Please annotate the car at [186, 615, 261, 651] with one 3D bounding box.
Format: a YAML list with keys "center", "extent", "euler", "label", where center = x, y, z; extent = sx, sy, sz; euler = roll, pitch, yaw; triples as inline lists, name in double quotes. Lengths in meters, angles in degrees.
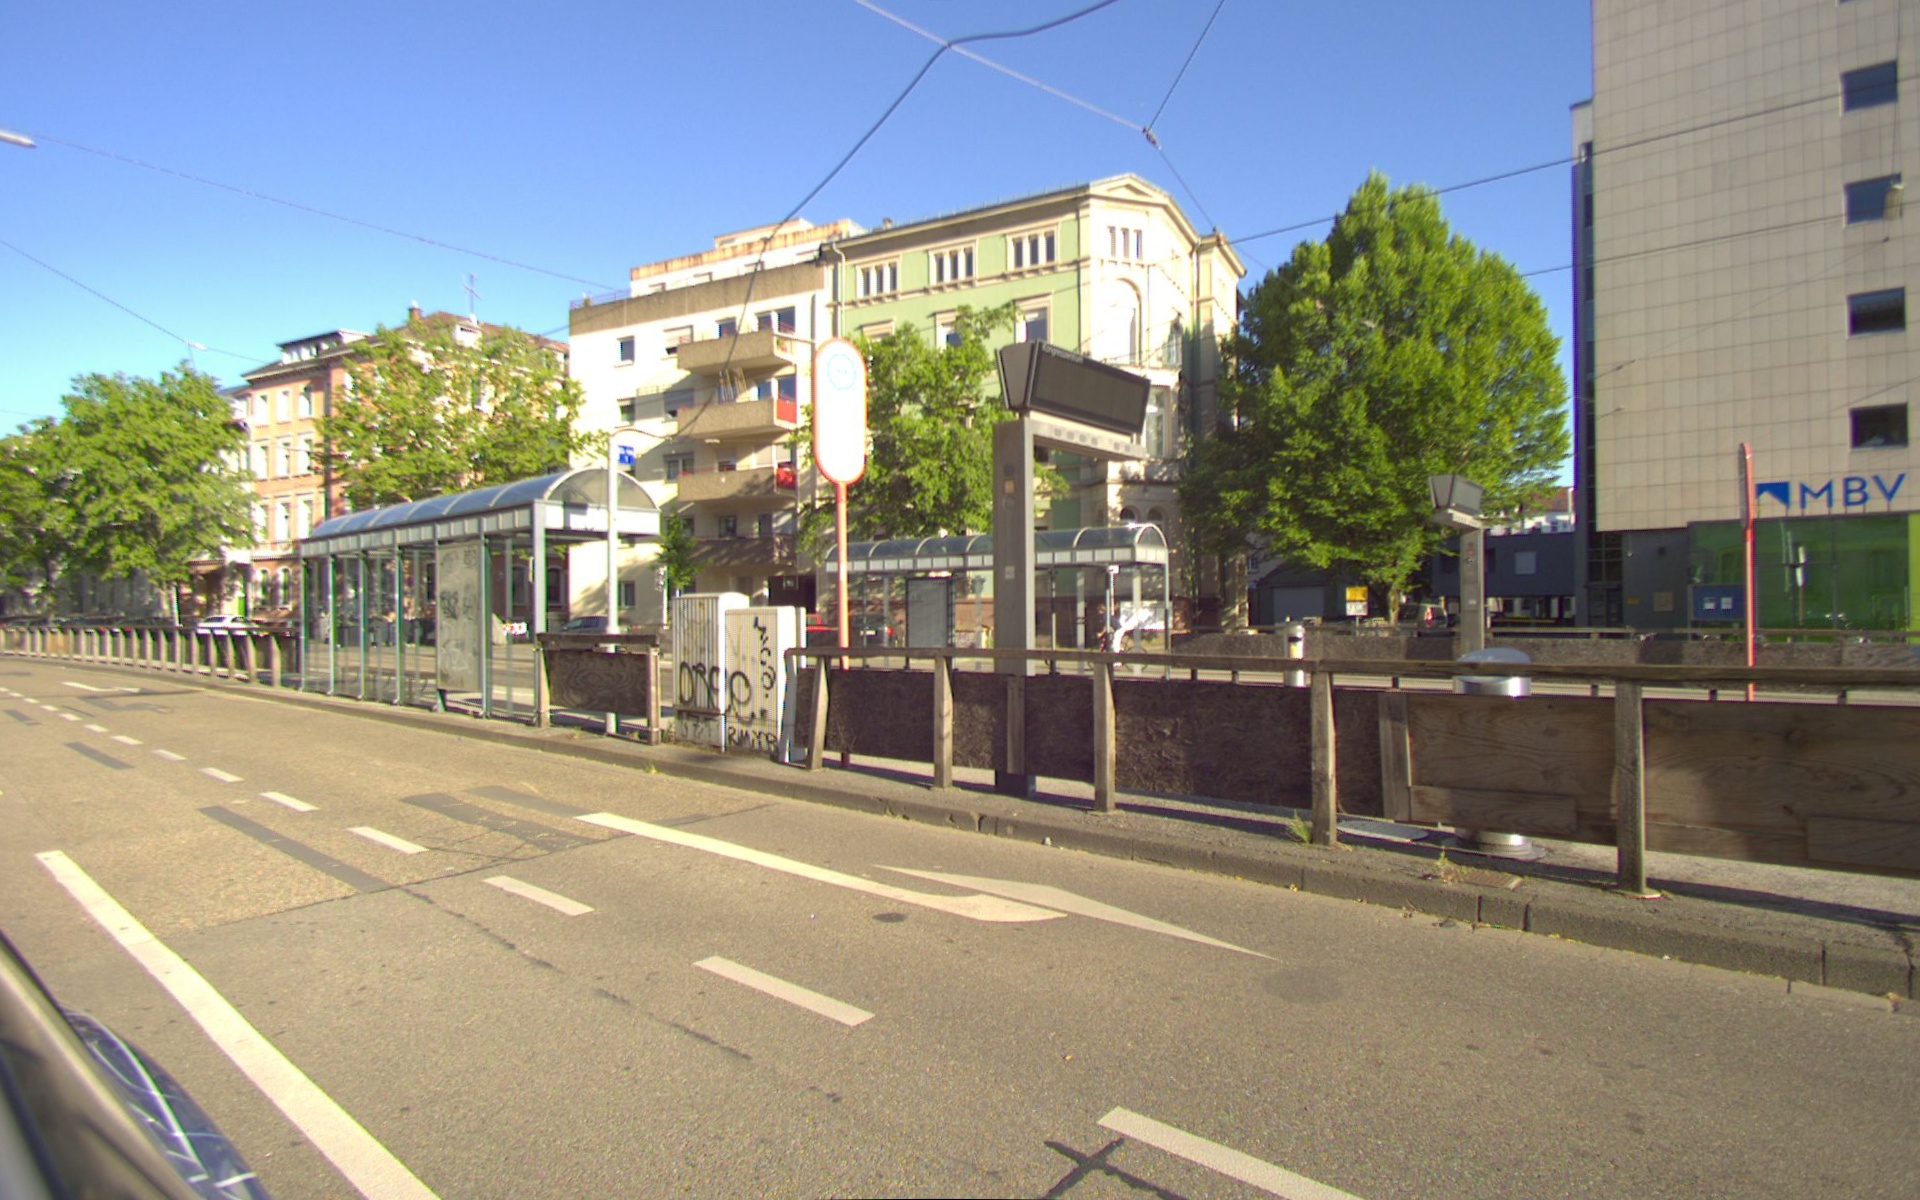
- center: [-39.517, 1.749, 54.390]
  extent: [1.966, 1.736, 4.012]
  euler: [0, 1, -15]
  label: "car"

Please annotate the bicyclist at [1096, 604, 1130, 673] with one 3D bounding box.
- center: [4.000, 1.004, 26.413]
  extent: [0.765, 1.774, 0.533]
  euler: [-1, -1, 20]
  label: "bicyclist"

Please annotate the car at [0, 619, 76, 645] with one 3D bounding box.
- center: [-59.606, 2.055, 65.286]
  extent: [3.811, 1.604, 2.001]
  euler: [1, -2, -45]
  label: "car"

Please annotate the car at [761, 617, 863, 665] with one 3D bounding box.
- center: [-4.999, 1.364, 34.702]
  extent: [1.763, 1.547, 3.763]
  euler: [-1, -2, 23]
  label: "car"

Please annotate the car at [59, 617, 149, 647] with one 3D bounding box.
- center: [-51.289, 1.884, 60.645]
  extent: [2.001, 1.697, 3.942]
  euler: [-2, -2, 44]
  label: "car"

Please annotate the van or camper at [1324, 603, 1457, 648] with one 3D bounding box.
- center: [15.508, 0.885, 36.557]
  extent: [3.998, 1.417, 1.943]
  euler: [2, 0, 41]
  label: "van or camper"

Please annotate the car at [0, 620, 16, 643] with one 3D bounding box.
- center: [-68.095, 2.187, 70.131]
  extent: [2.001, 1.604, 3.812]
  euler: [-2, -2, 44]
  label: "car"

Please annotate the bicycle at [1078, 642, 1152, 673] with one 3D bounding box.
- center: [4.059, 1.492, 26.494]
  extent: [1.839, 0.793, 0.532]
  euler: [-1, -1, 20]
  label: "bicycle"

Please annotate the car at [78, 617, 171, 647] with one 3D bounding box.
- center: [-47.972, 1.821, 58.172]
  extent: [2.001, 1.697, 3.942]
  euler: [-2, -2, 44]
  label: "car"

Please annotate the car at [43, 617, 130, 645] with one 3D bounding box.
- center: [-54.297, 1.930, 62.974]
  extent: [2.001, 1.697, 3.942]
  euler: [-2, -2, 44]
  label: "car"

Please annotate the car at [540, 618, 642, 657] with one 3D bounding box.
- center: [-14.000, 1.412, 38.407]
  extent: [3.498, 1.406, 1.602]
  euler: [-1, -2, 22]
  label: "car"
